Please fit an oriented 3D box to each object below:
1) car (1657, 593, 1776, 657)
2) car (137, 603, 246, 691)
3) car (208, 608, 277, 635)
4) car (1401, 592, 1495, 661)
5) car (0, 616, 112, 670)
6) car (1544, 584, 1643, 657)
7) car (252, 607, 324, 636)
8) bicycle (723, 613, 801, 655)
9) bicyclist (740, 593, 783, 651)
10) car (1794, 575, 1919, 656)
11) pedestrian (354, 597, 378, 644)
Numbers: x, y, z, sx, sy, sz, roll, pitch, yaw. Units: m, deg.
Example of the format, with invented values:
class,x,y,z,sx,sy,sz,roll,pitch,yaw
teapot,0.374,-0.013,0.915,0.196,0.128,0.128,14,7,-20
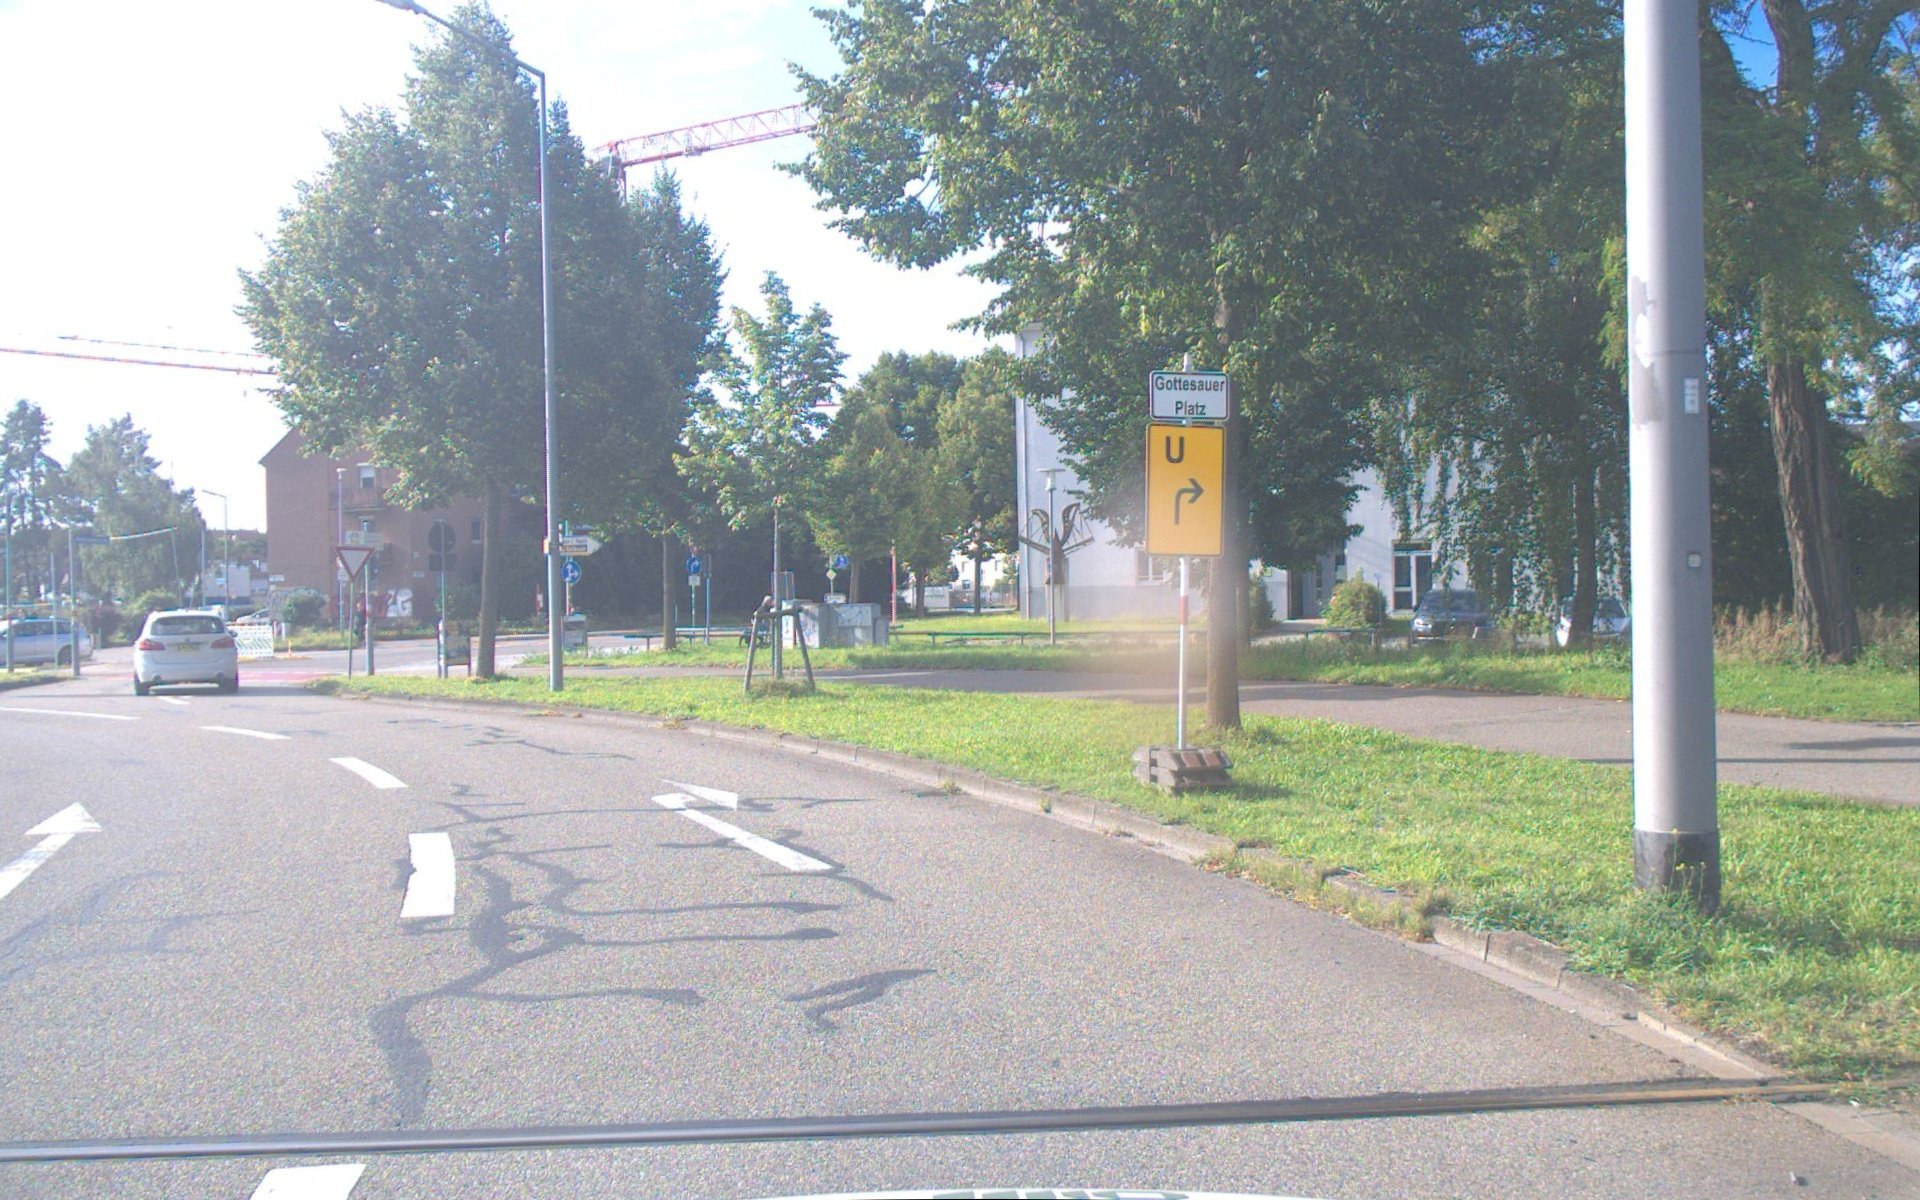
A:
class,x,y,z,sx,sy,sz,roll,pitch,yaw
car,16.180,0.500,35.593,1.816,1.228,4.735,-1,0,19
car,-15.211,0.868,32.735,1.827,1.600,4.418,0,0,-25
car,-46.243,1.362,106.612,3.940,1.646,1.757,-1,0,-27
car,10.947,0.546,36.908,1.816,1.405,4.517,-1,0,19
car,-27.700,1.279,48.975,1.780,1.478,4.542,-1,0,21
car,13.796,0.421,36.219,1.816,1.465,4.735,-1,0,19
car,-41.572,1.323,102.386,3.923,1.646,1.765,-1,0,-17
bicycle,-5.621,0.971,46.912,2.099,1.157,0.772,0,0,23
bicyclist,-5.631,0.621,46.914,0.937,1.602,0.772,-1,0,23
car,18.697,0.286,34.311,1.816,1.542,4.735,-1,0,19
pedestrian,-24.188,0.826,67.377,0.653,1.903,0.835,-1,0,1
